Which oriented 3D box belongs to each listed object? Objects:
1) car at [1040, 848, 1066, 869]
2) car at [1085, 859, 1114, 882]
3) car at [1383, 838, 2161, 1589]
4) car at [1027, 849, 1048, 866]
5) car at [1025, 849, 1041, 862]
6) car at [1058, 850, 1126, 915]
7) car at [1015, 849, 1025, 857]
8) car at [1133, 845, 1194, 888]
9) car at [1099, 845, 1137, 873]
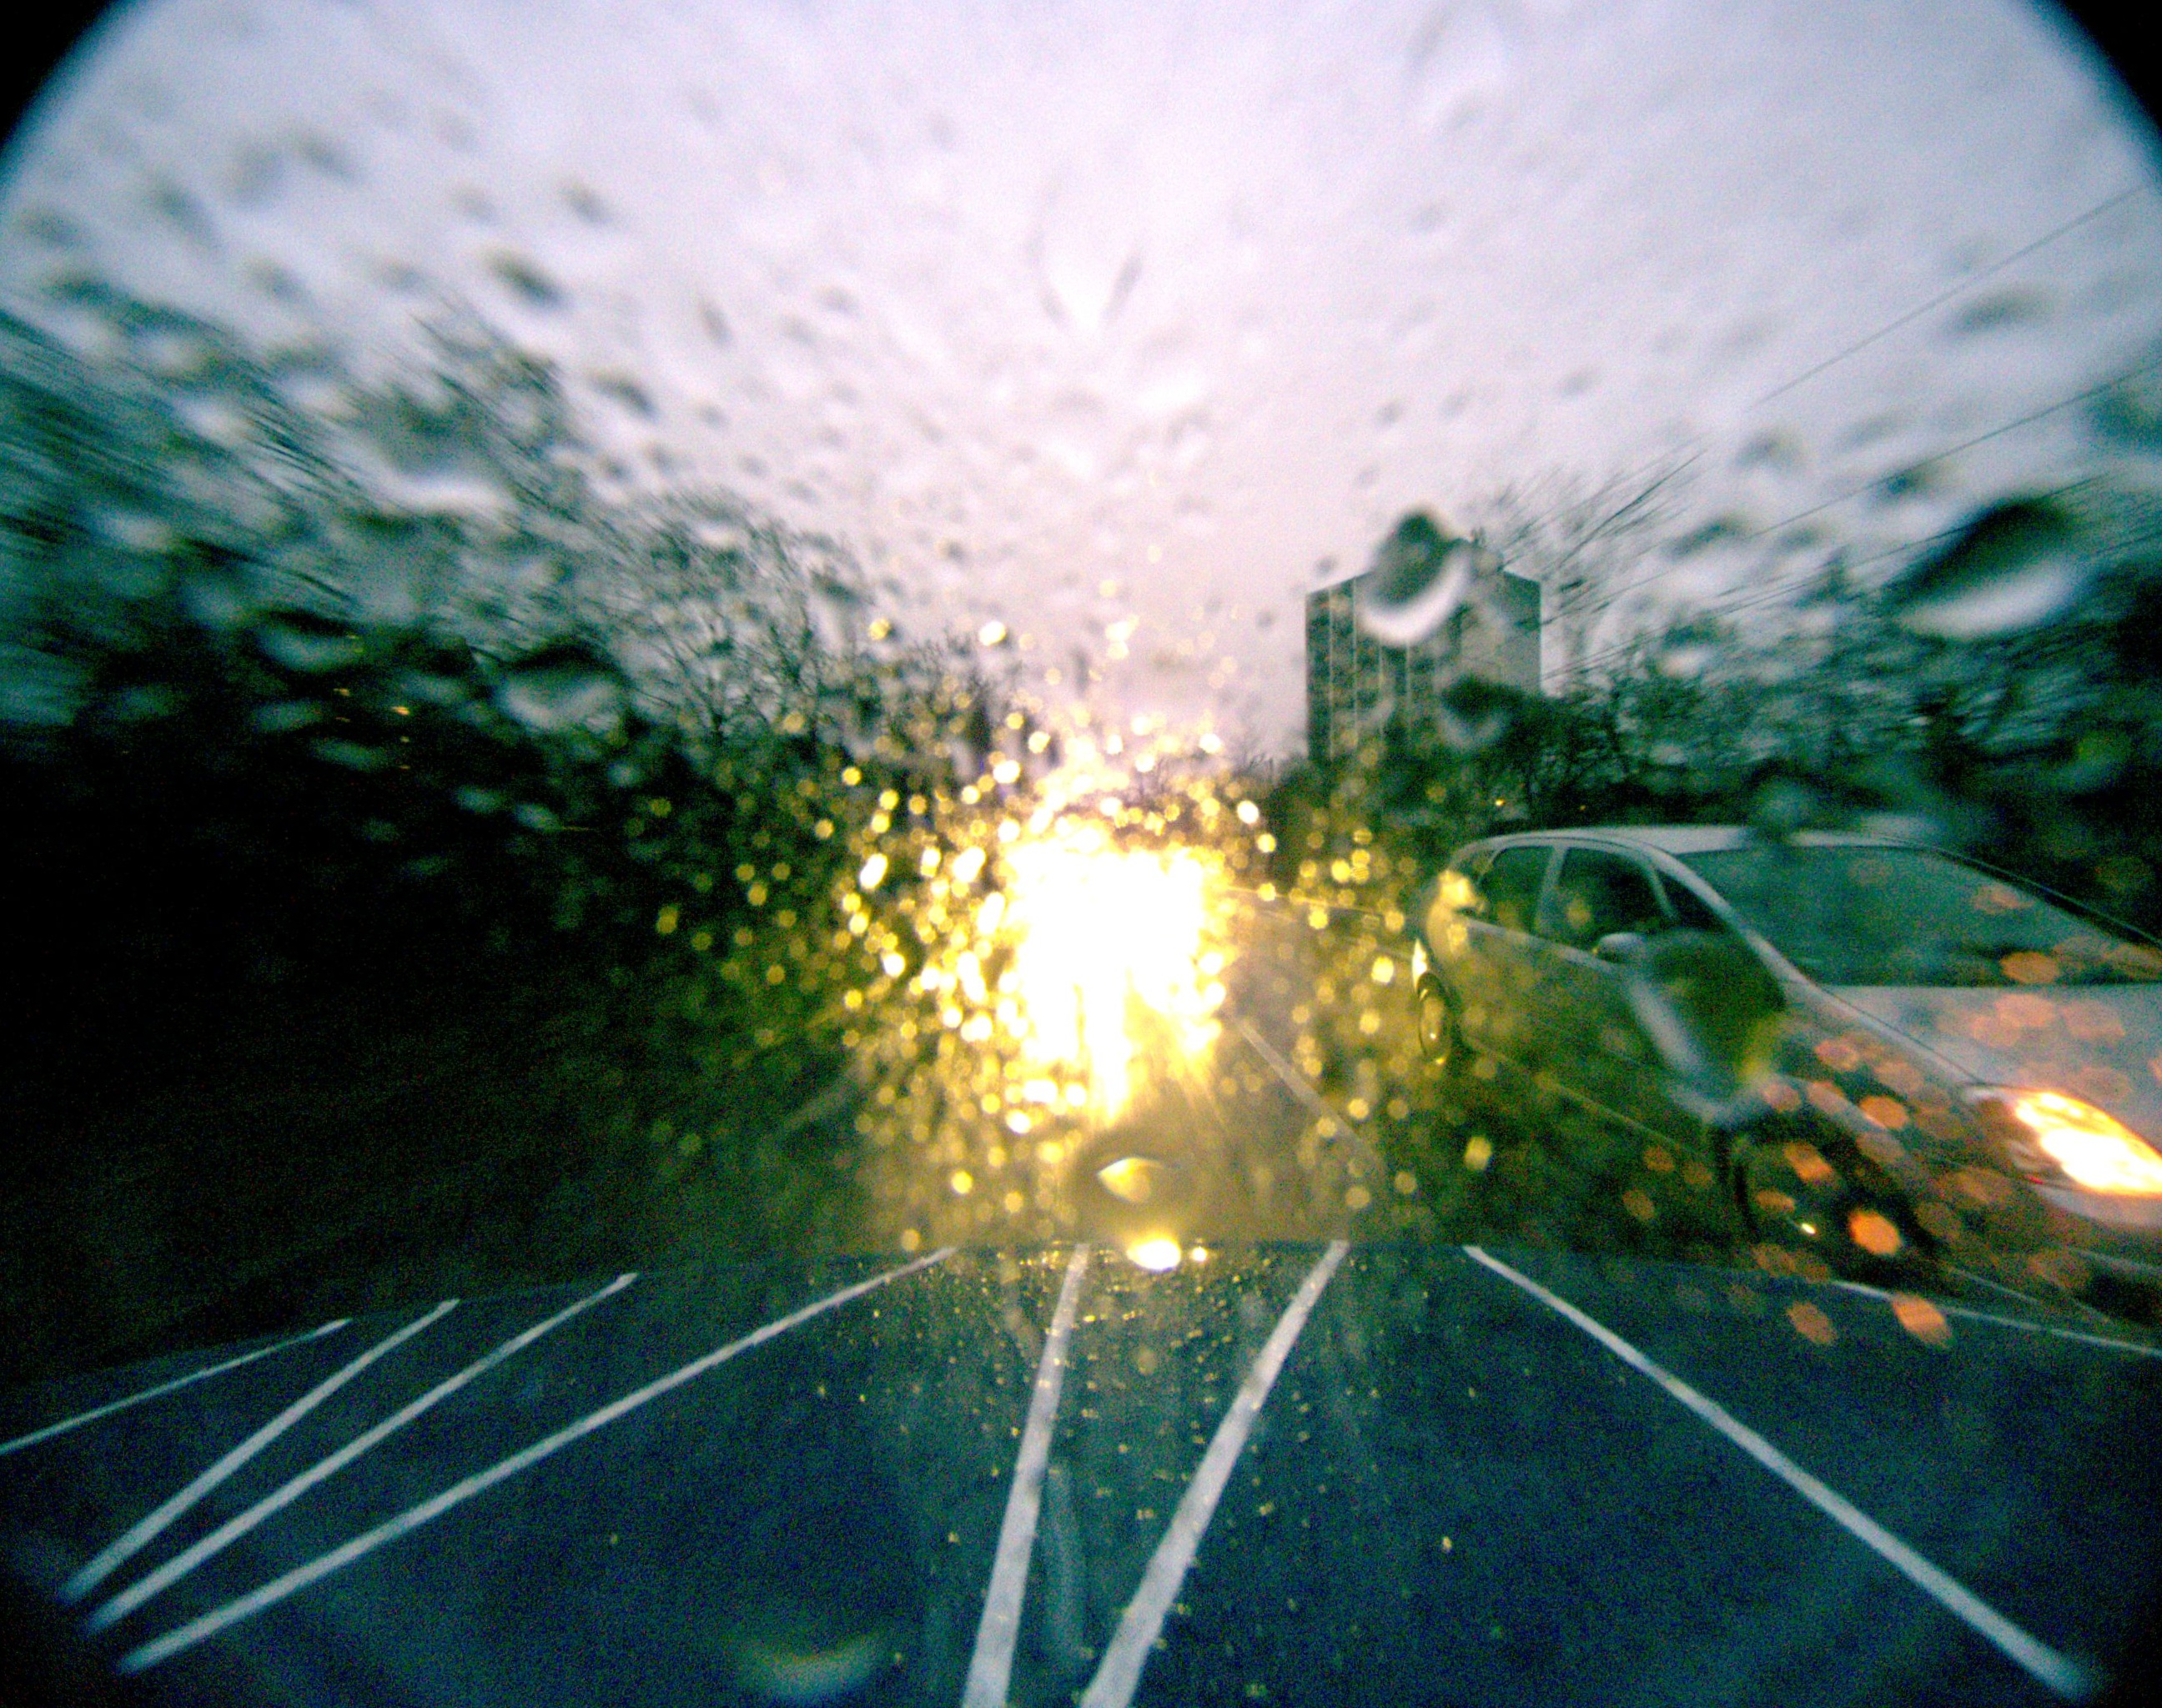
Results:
[{"bbox_3d":[-2.241,0.330,61.188,1.953,1.590,4.123,-1,1,-1],"label":"car"},{"bbox_3d":[1.450,1.275,60.952,1.999,1.652,3.998,-3,1,-3],"label":"car"},{"bbox_3d":[3.111,0.735,3.571,1.694,1.530,4.190,-2,1,0],"label":"car"},{"bbox_3d":[-4.372,0.313,76.585,1.953,1.590,4.123,-1,1,-2],"label":"car"},{"bbox_3d":[-6.342,0.162,101.311,1.953,1.590,4.123,-1,1,-2],"label":"car"},{"bbox_3d":[0.292,0.711,21.058,1.679,1.590,4.044,-1,1,0],"label":"car"},{"bbox_3d":[-12.416,-0.184,154.619,1.954,1.590,4.121,-1,1,-7],"label":"car"},{"bbox_3d":[3.257,0.461,30.815,1.953,1.590,4.123,-1,1,-1],"label":"car"},{"bbox_3d":[2.155,0.281,45.564,1.953,1.590,4.123,-1,1,-1],"label":"car"}]
